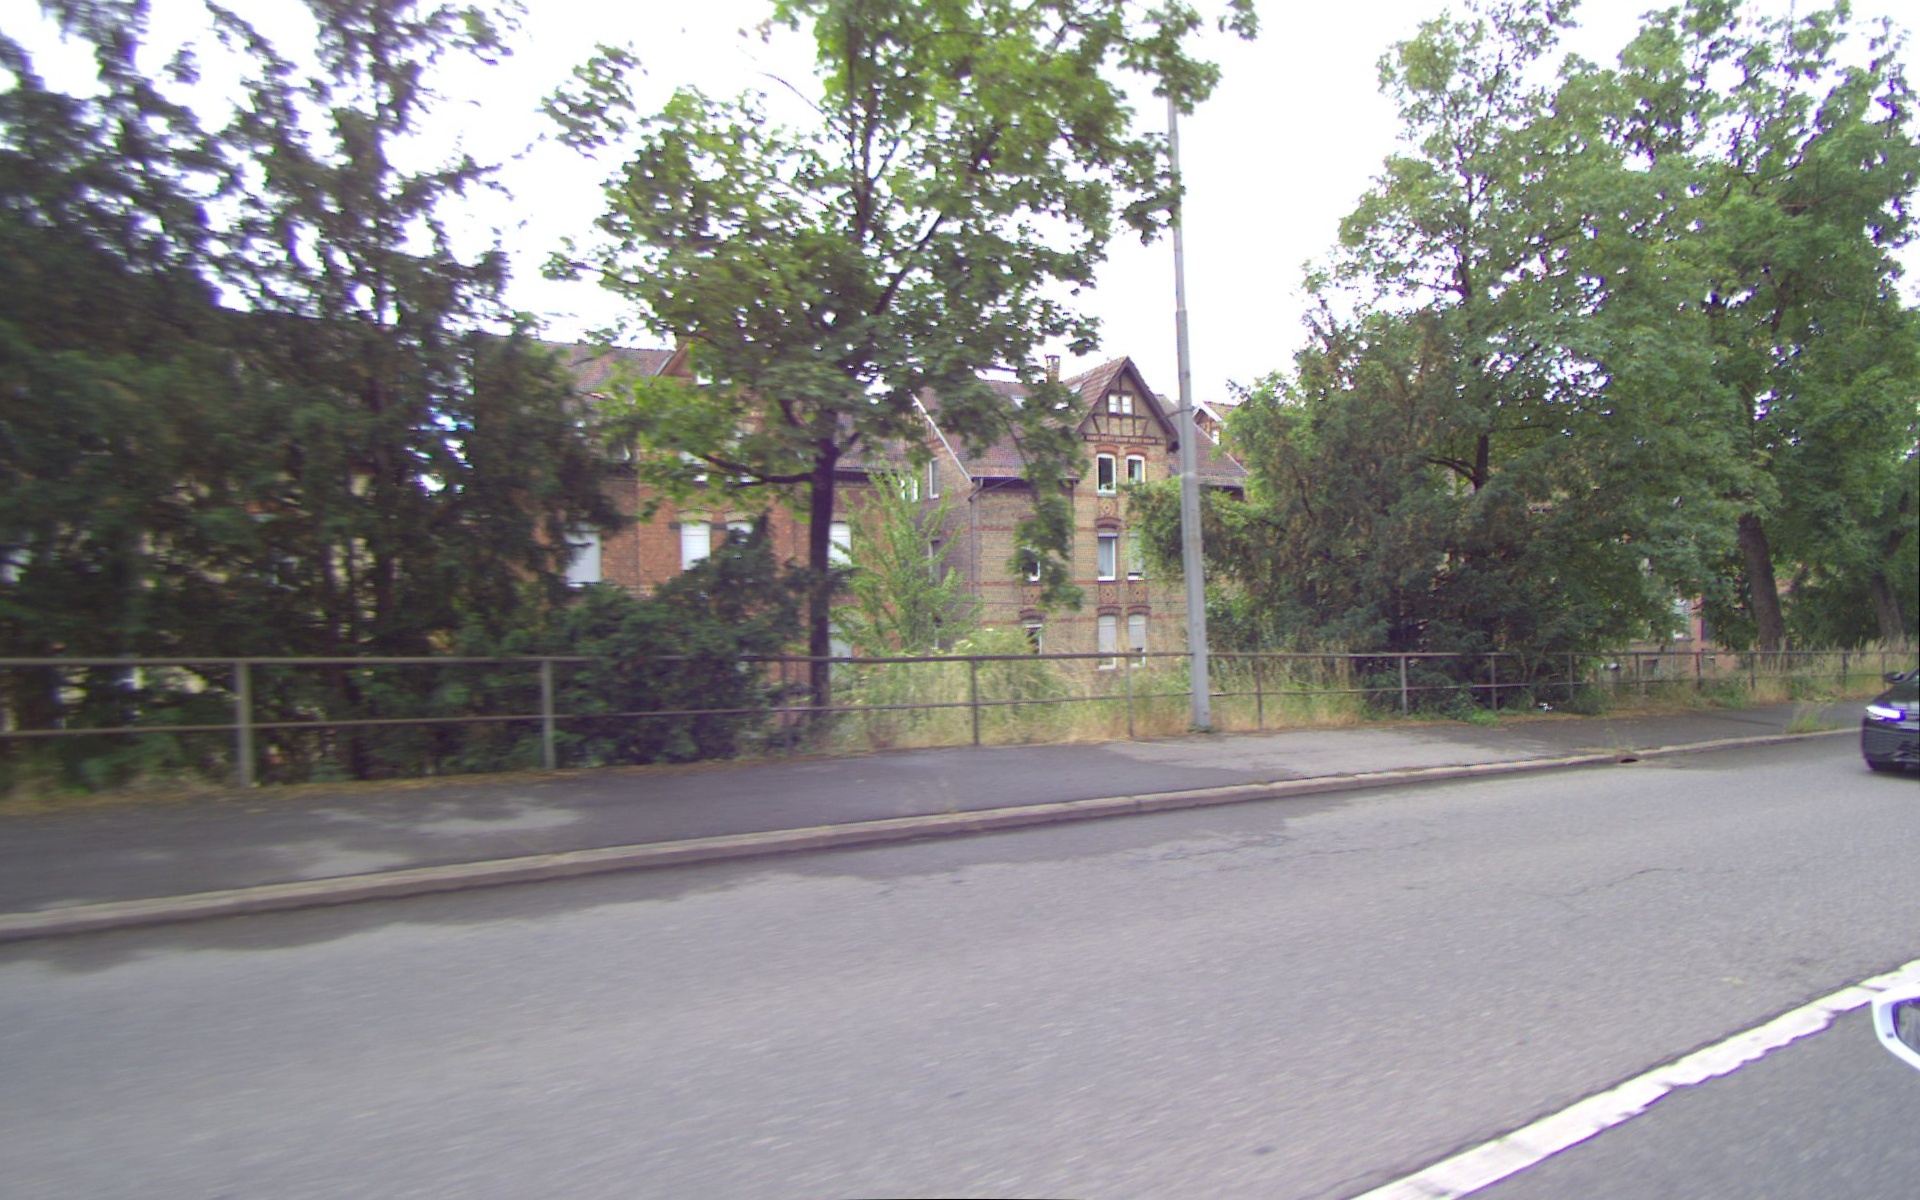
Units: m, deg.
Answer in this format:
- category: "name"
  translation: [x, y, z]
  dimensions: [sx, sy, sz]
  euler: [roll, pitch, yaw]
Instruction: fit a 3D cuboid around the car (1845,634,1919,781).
- category: "car"
  translation: [11.397, 1.111, 10.813]
  dimensions: [4.092, 1.446, 1.704]
  euler: [1, -1, -32]
